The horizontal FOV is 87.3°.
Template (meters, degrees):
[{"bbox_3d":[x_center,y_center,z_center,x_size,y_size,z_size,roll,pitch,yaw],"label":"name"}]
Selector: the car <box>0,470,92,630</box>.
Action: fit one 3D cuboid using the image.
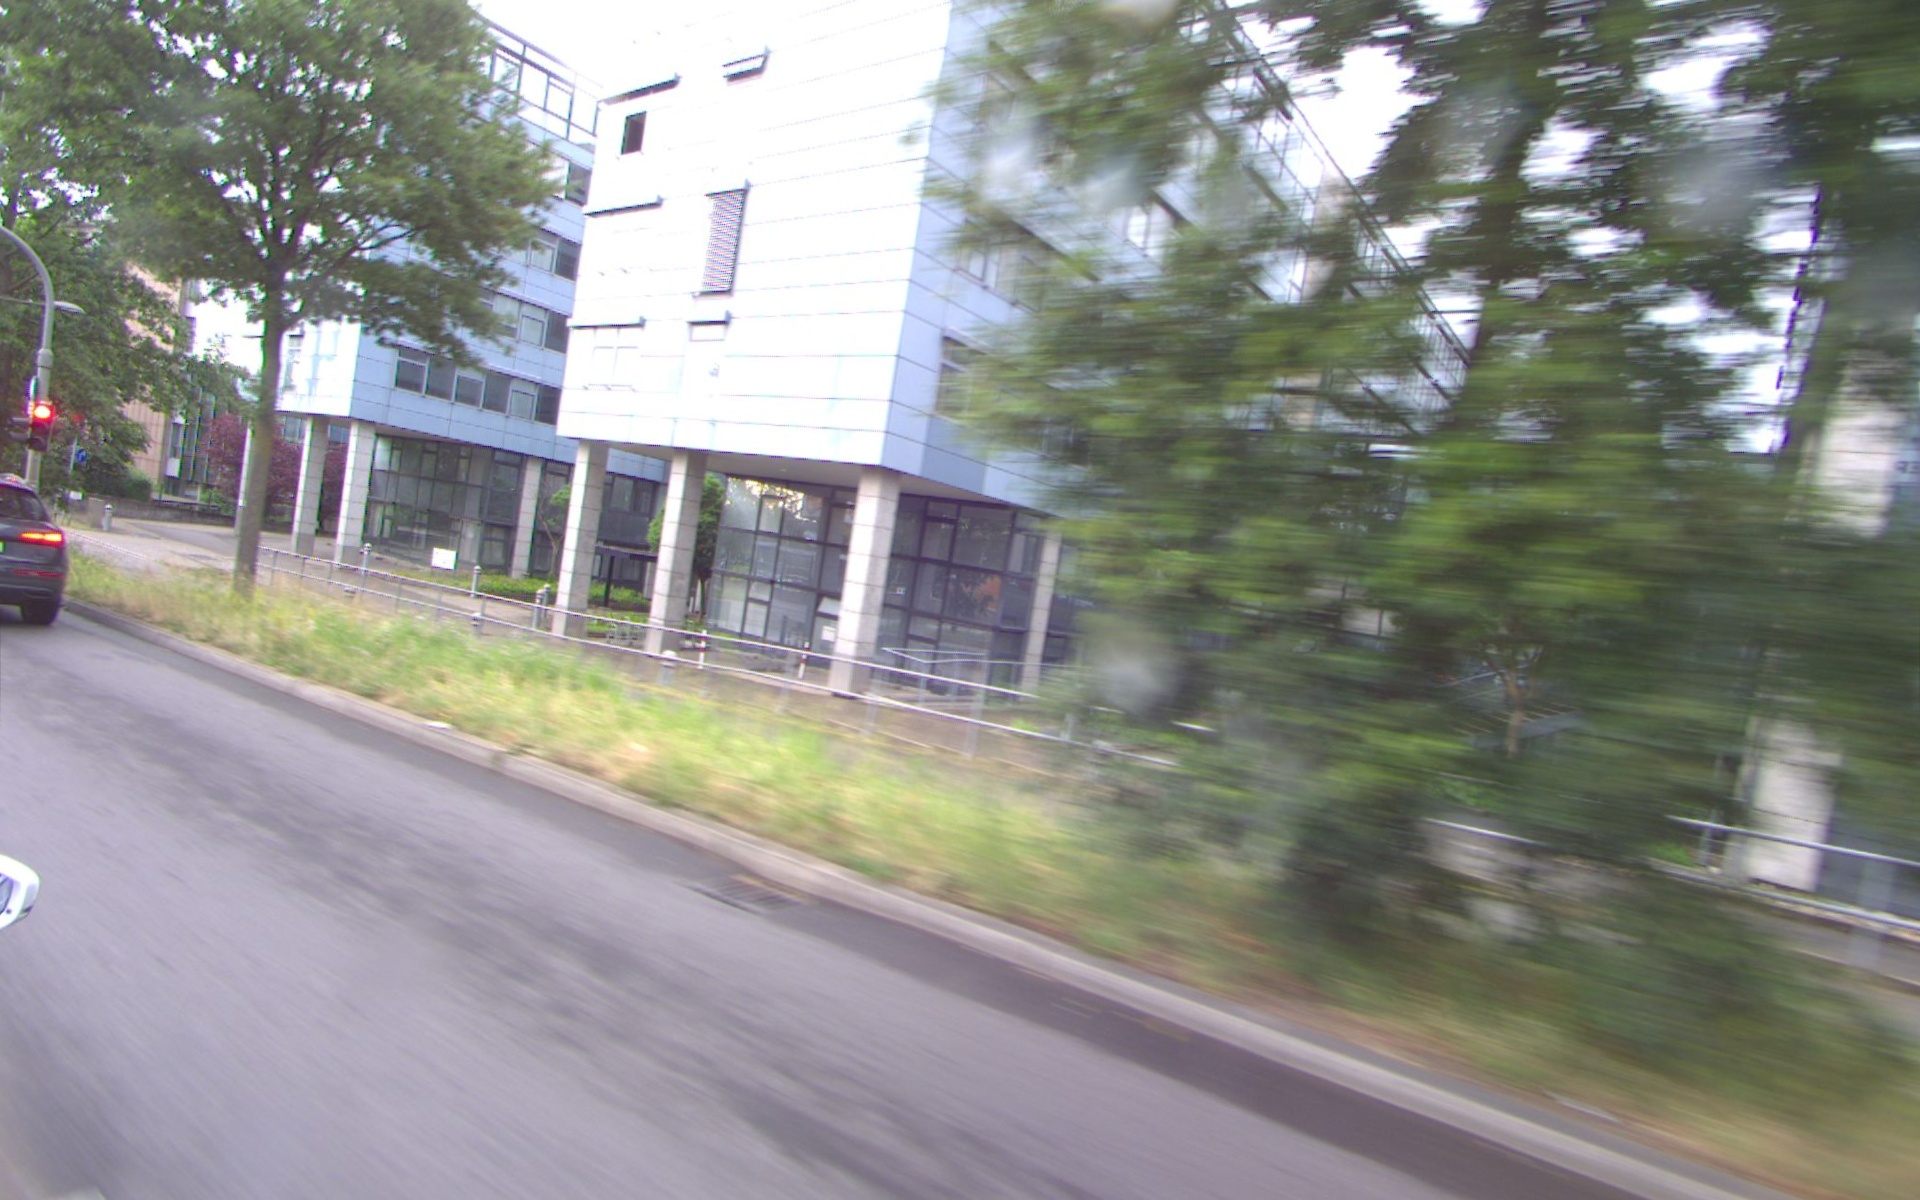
[{"bbox_3d":[-11.965,-0.788,11.625,4.400,1.632,1.819,7,-1,35],"label":"car"}]
